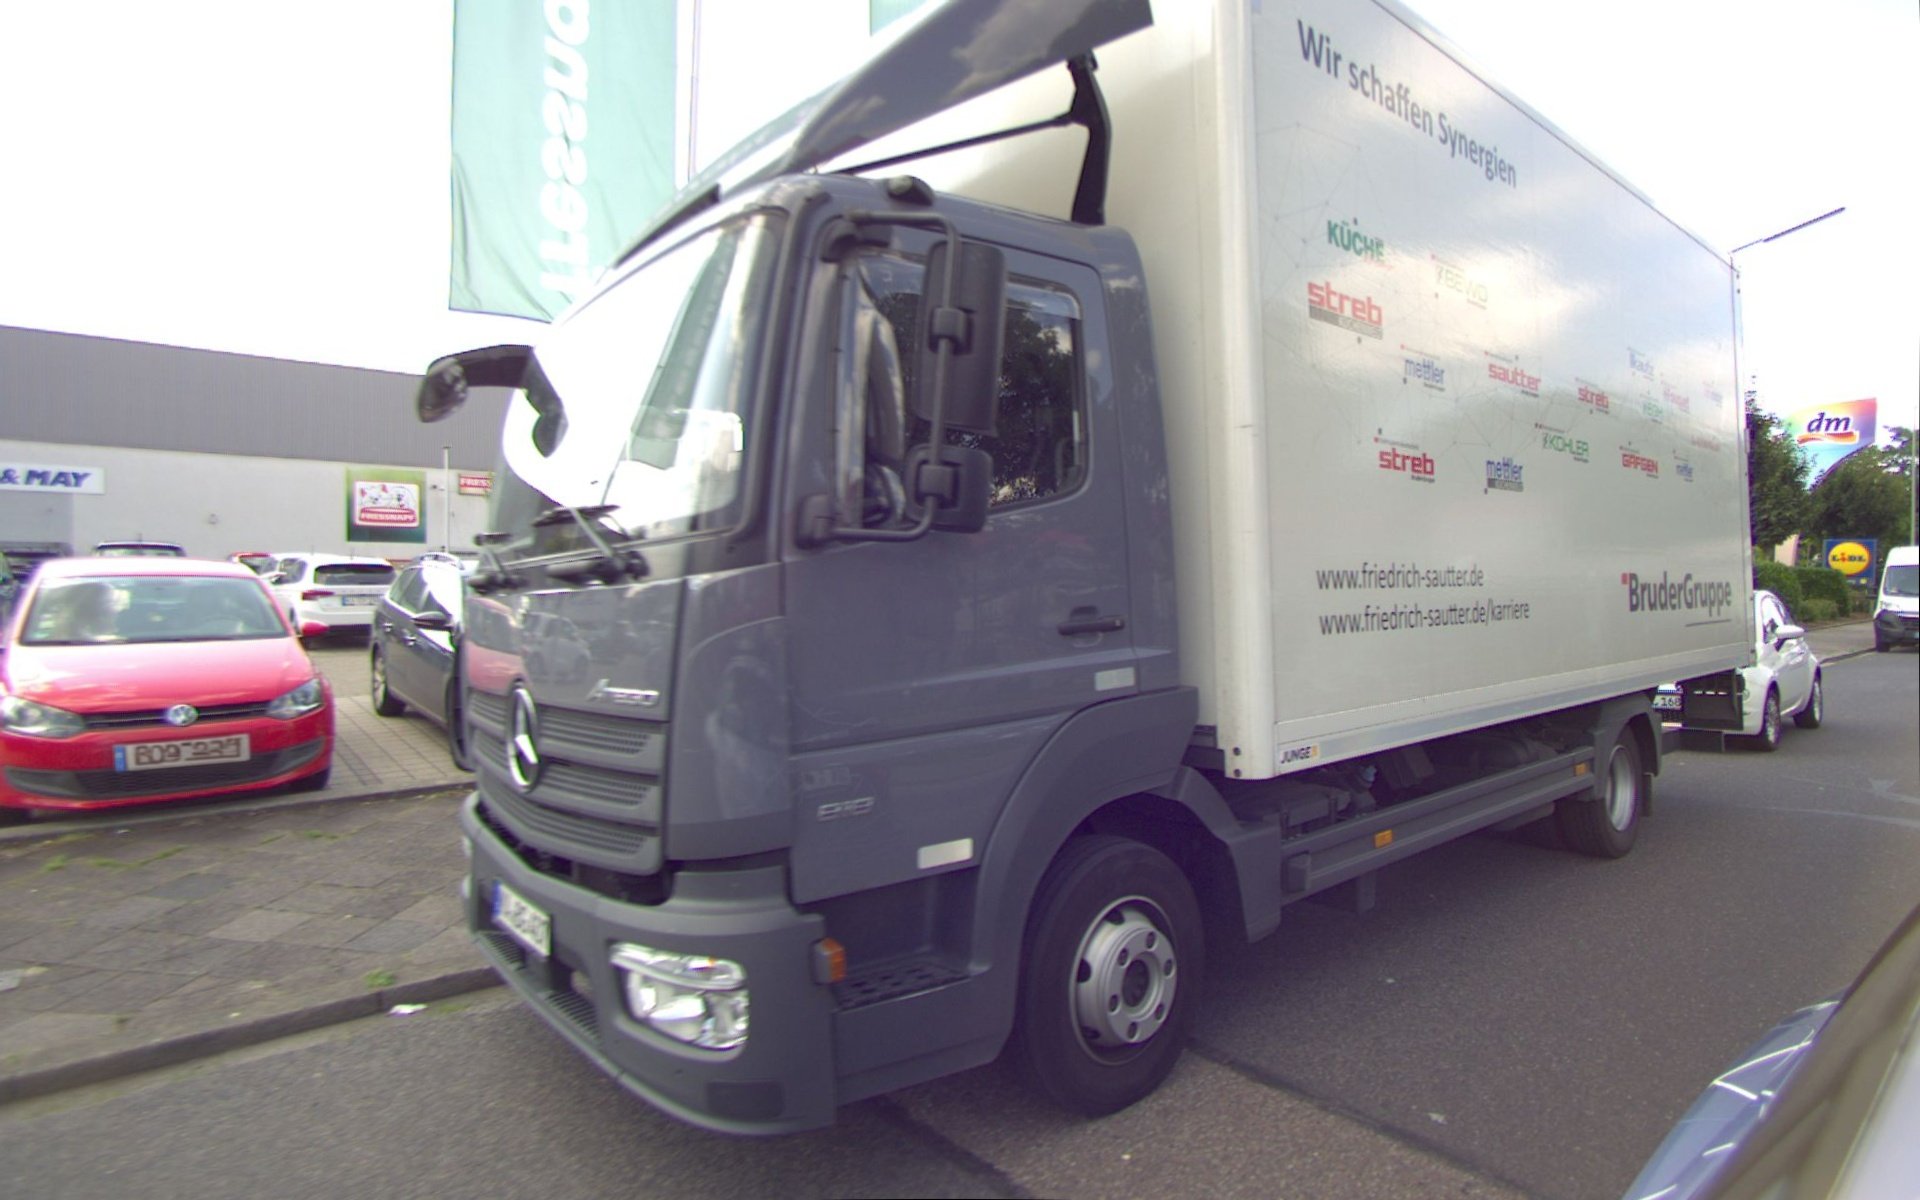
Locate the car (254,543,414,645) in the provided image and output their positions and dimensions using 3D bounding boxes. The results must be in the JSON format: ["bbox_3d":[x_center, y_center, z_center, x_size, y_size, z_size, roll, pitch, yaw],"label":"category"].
[{"bbox_3d":[-10.799,-0.184,17.346,1.695,1.502,3.943,-1,4,-41],"label":"car"}]

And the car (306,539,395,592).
[{"bbox_3d":[-19.132,-1.117,31.716,1.695,1.502,4.031,-1,4,-41],"label":"car"}]

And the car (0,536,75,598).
[{"bbox_3d":[-24.689,-0.920,26.932,1.695,1.502,3.929,-1,4,-41],"label":"car"}]

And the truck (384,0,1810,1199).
[{"bbox_3d":[1.788,-0.777,5.440,8.132,4.168,2.784,-1,0,-40],"label":"truck"}]

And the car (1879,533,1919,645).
[{"bbox_3d":[23.257,-0.292,23.559,5.358,2.439,2.055,-1,0,-40],"label":"car"}]

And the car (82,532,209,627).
[{"bbox_3d":[-15.693,-0.468,19.432,1.710,1.597,4.065,-1,4,-41],"label":"car"}]

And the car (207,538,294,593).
[{"bbox_3d":[-21.342,-1.065,30.382,1.695,1.502,4.038,-1,4,-41],"label":"car"}]

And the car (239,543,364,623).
[{"bbox_3d":[-14.112,-0.431,21.609,1.695,1.502,3.943,-1,4,-41],"label":"car"}]

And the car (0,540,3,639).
[{"bbox_3d":[-14.623,-0.080,14.105,1.711,1.502,3.989,-1,4,-41],"label":"car"}]

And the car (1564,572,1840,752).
[{"bbox_3d":[7.699,0.504,10.393,3.564,1.530,1.547,-1,0,-42],"label":"car"}]

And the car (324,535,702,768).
[{"bbox_3d":[-4.167,0.237,9.037,1.720,1.561,4.290,-1,4,-44],"label":"car"}]

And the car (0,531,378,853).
[{"bbox_3d":[-5.423,0.335,6.821,1.720,1.541,3.888,-1,4,-44],"label":"car"}]

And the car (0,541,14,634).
[{"bbox_3d":[-17.937,-0.275,17.857,1.695,1.502,4.027,-1,4,-41],"label":"car"}]
